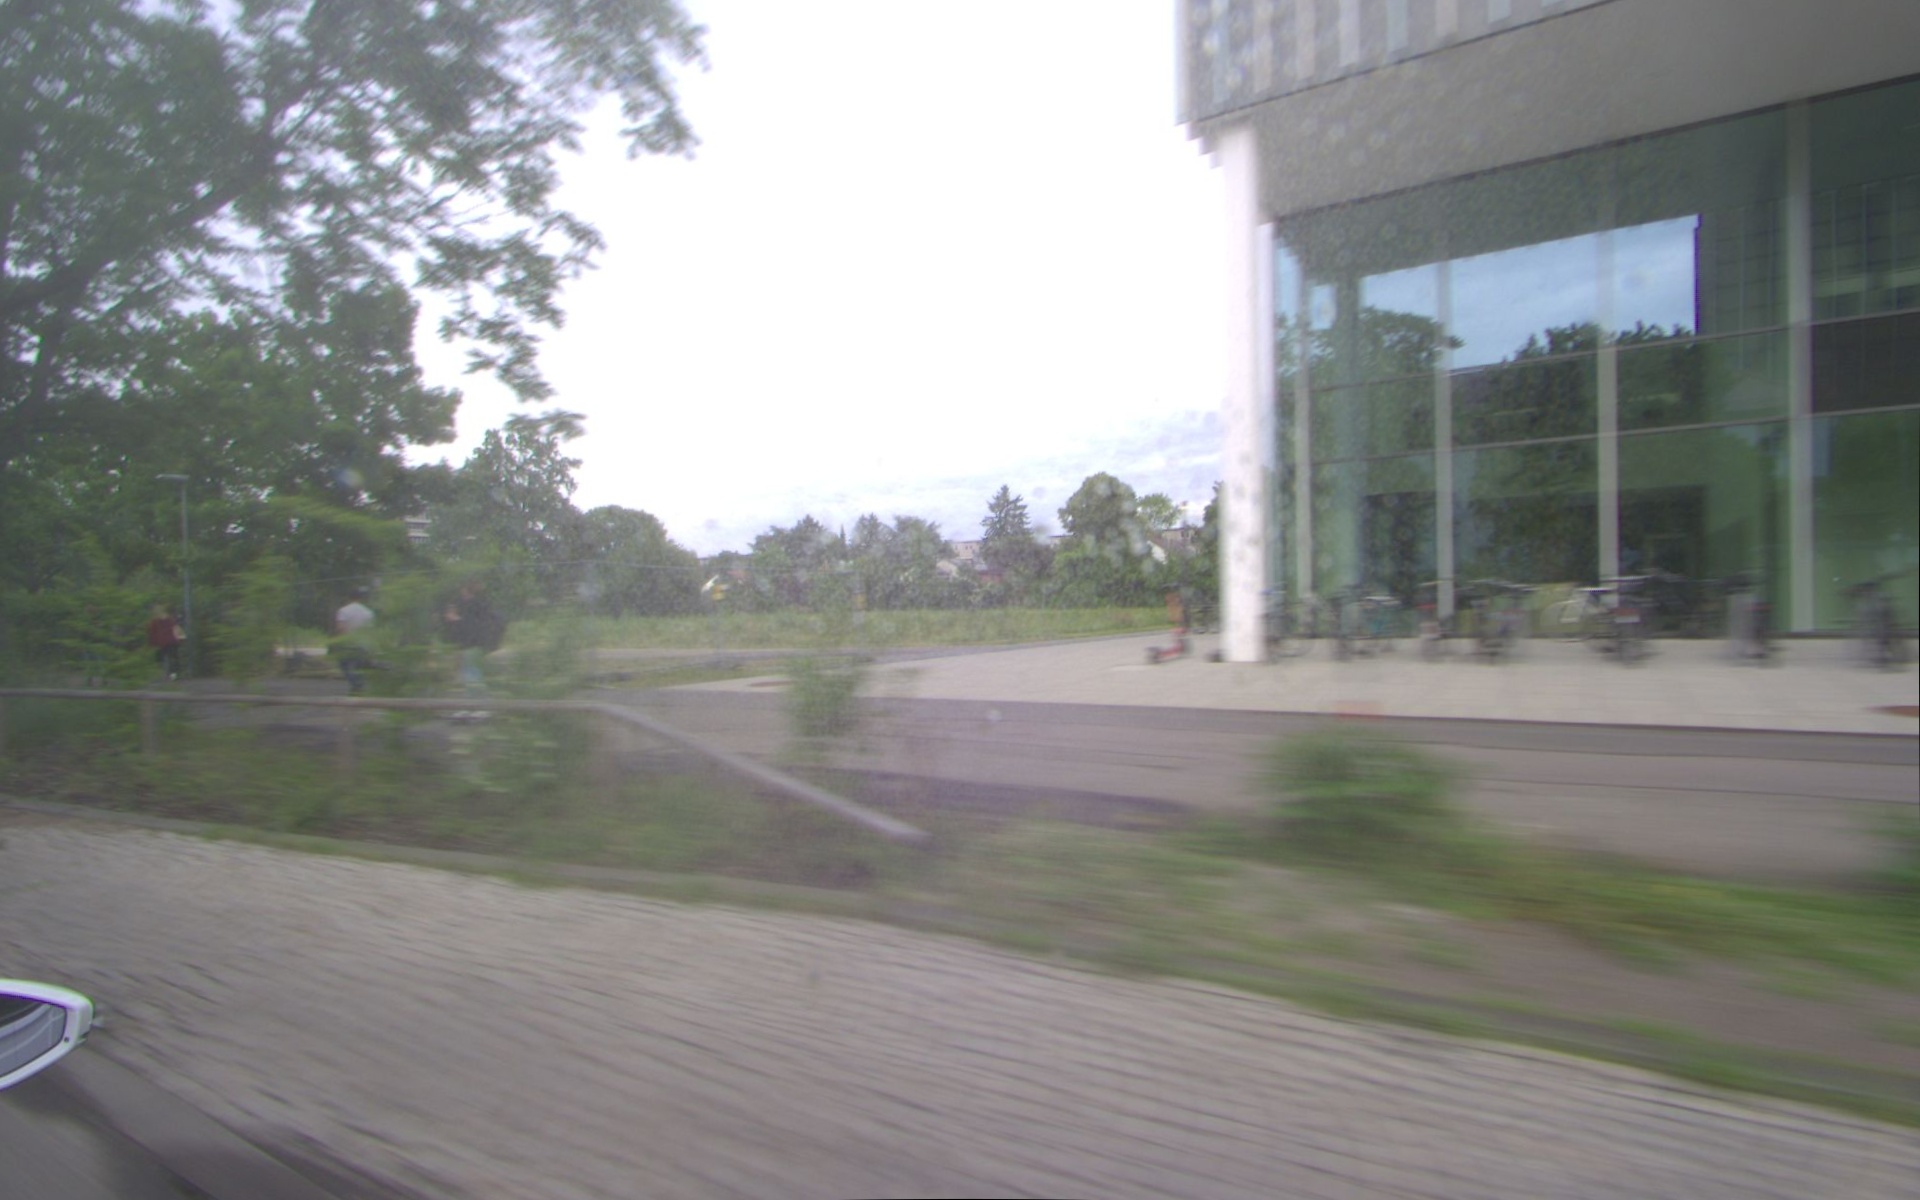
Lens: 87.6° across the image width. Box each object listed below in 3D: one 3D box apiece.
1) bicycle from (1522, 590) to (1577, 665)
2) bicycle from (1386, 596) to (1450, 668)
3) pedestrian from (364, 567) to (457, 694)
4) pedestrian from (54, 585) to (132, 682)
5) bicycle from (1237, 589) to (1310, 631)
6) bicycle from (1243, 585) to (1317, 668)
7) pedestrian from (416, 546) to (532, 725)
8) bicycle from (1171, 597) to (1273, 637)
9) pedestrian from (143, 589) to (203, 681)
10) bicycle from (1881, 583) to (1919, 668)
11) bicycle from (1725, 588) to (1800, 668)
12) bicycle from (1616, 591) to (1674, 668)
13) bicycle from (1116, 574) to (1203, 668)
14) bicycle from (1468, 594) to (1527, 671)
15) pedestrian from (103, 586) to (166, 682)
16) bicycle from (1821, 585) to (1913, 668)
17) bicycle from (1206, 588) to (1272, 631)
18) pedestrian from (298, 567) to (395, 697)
[{"bbox_3d":[7.685,0.337,13.029,0.548,0.886,1.602,-1,1,33],"label":"bicycle"},{"bbox_3d":[6.225,0.413,13.574,0.548,0.886,1.602,-1,1,33],"label":"bicycle"},{"bbox_3d":[-9.180,0.495,16.740,1.024,2.040,0.924,-1,1,28],"label":"pedestrian"},{"bbox_3d":[-18.876,0.713,21.807,1.024,2.040,0.924,-1,1,28],"label":"pedestrian"},{"bbox_3d":[10.853,0.372,34.755,2.318,1.413,0.668,-1,1,37],"label":"bicycle"},{"bbox_3d":[4.727,0.362,14.718,0.617,1.097,1.790,-1,2,31],"label":"bicycle"},{"bbox_3d":[-5.798,0.418,11.979,0.880,2.040,0.842,-1,1,25],"label":"pedestrian"},{"bbox_3d":[7.792,0.514,29.890,2.756,1.144,1.026,-1,0,37],"label":"bicycle"},{"bbox_3d":[-17.816,0.778,22.681,0.710,2.040,0.822,-1,1,32],"label":"pedestrian"},{"bbox_3d":[10.942,0.267,11.296,0.548,0.886,1.602,-1,1,33],"label":"bicycle"},{"bbox_3d":[9.691,0.317,12.131,0.548,0.886,1.602,-1,1,33],"label":"bicycle"},{"bbox_3d":[8.612,0.349,12.620,0.548,0.886,1.602,-1,1,33],"label":"bicycle"},{"bbox_3d":[3.140,0.303,15.659,1.636,1.351,0.458,-4,3,-45],"label":"bicycle"},{"bbox_3d":[7.067,0.399,13.138,0.548,0.887,1.601,-1,2,33],"label":"bicycle"},{"bbox_3d":[-18.092,0.740,21.952,0.710,2.041,0.822,-1,2,32],"label":"pedestrian"},{"bbox_3d":[10.471,0.283,11.597,0.509,0.896,1.600,-1,0,32],"label":"bicycle"},{"bbox_3d":[9.288,0.322,33.411,2.018,1.413,0.665,-1,1,37],"label":"bicycle"},{"bbox_3d":[-10.014,0.507,16.358,1.024,2.040,0.924,-1,1,28],"label":"pedestrian"}]
